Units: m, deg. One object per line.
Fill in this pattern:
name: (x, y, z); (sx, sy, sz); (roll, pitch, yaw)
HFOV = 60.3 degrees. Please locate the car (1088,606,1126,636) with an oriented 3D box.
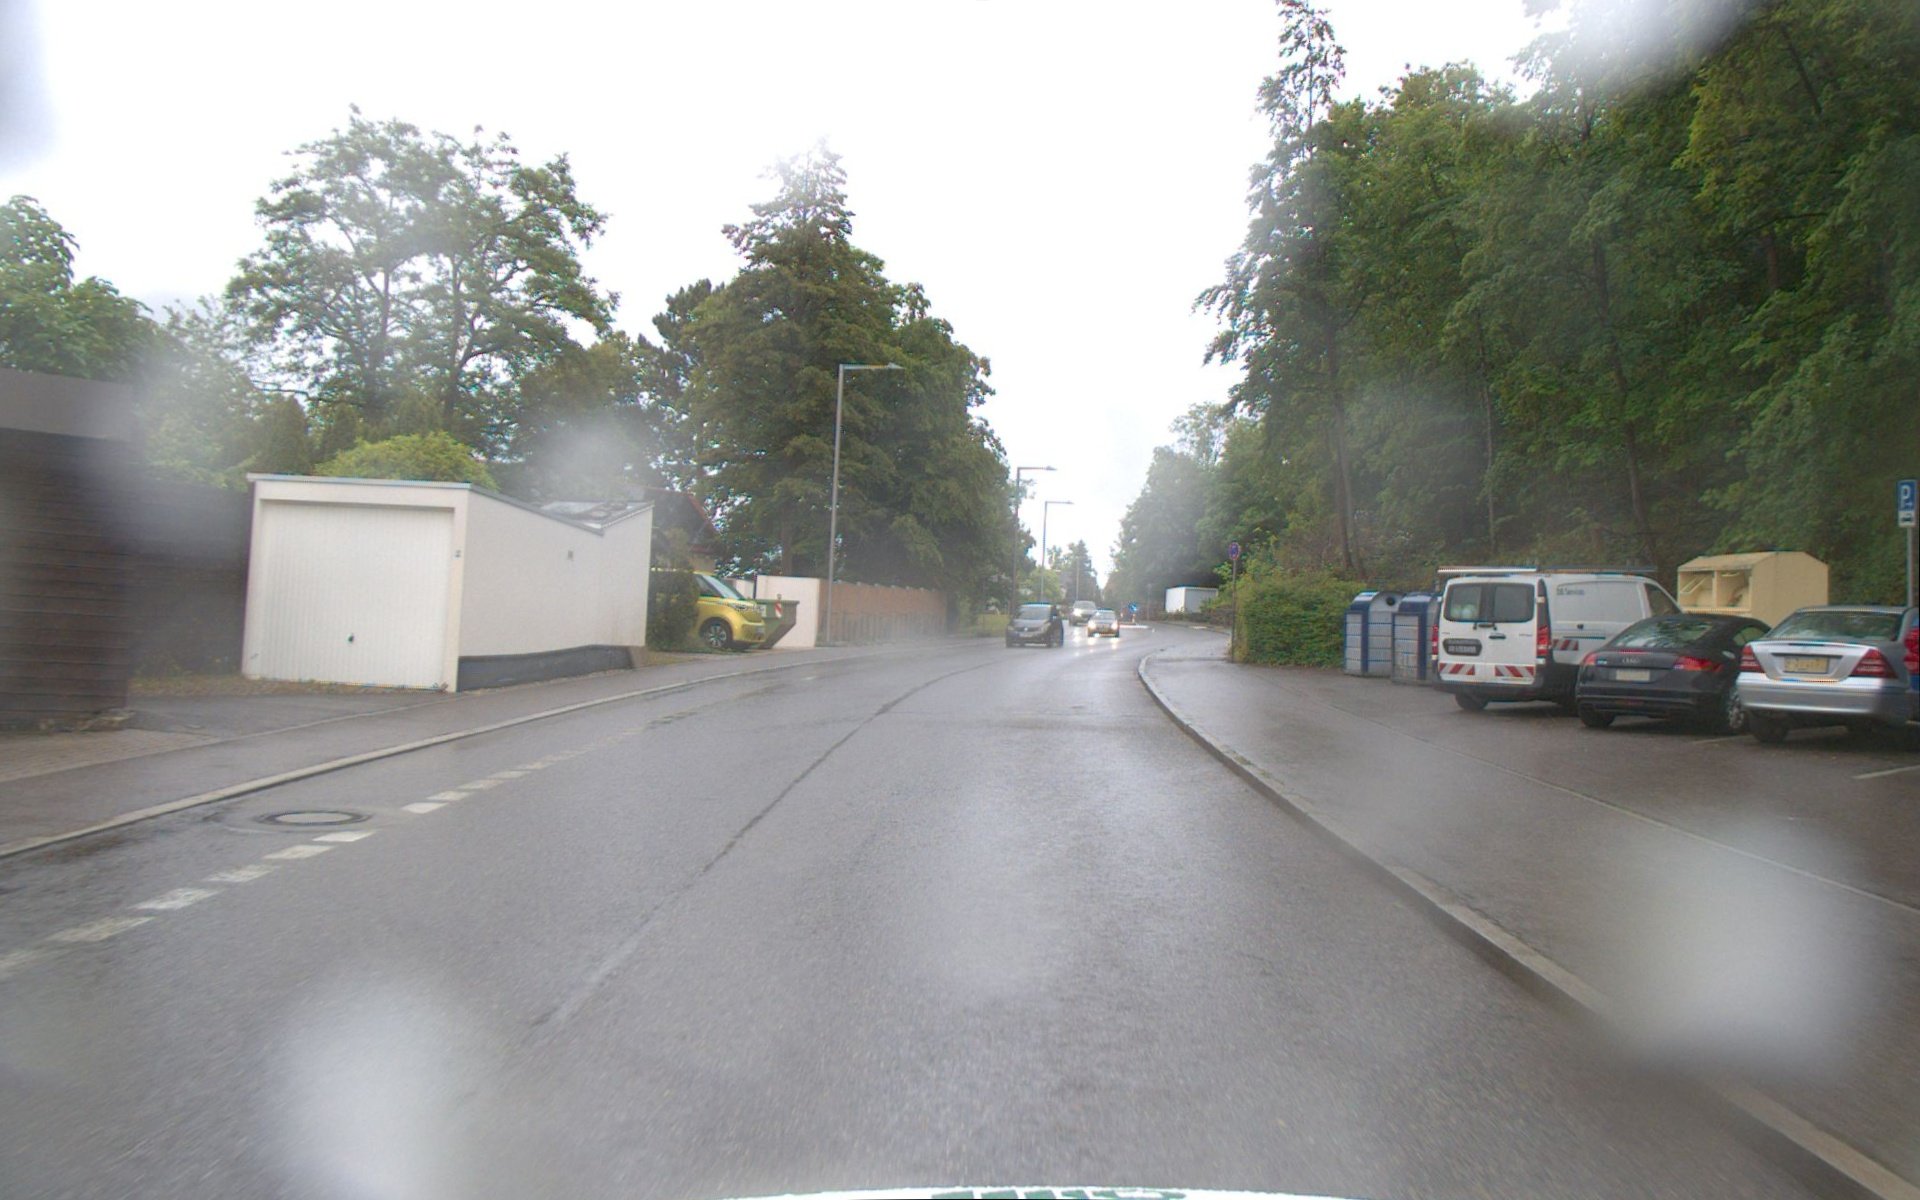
car: (8.089, 1.164, 90.674); (1.795, 1.538, 4.172); (2, 0, 8)

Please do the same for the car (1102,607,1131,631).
car: (11.484, 1.401, 121.300); (1.877, 1.676, 4.550); (1, -1, 8)

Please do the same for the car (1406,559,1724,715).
car: (8.575, 0.484, 23.245); (4.798, 1.974, 2.125); (1, 0, -41)

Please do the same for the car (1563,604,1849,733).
car: (9.003, 0.764, 19.840); (3.762, 1.372, 1.736); (1, 0, -41)

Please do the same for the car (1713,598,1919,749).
car: (9.806, 0.733, 17.911); (3.961, 1.437, 1.601); (1, 0, -43)

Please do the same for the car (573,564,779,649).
car: (-6.823, 0.141, 39.991); (4.407, 1.892, 2.091); (1, 0, 10)

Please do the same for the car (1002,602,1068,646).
car: (2.862, 0.894, 62.236); (1.795, 1.538, 4.621); (2, 0, 11)

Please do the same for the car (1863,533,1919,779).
car: (10.332, 0.478, 14.644); (5.429, 2.003, 2.298); (0, 1, -40)
